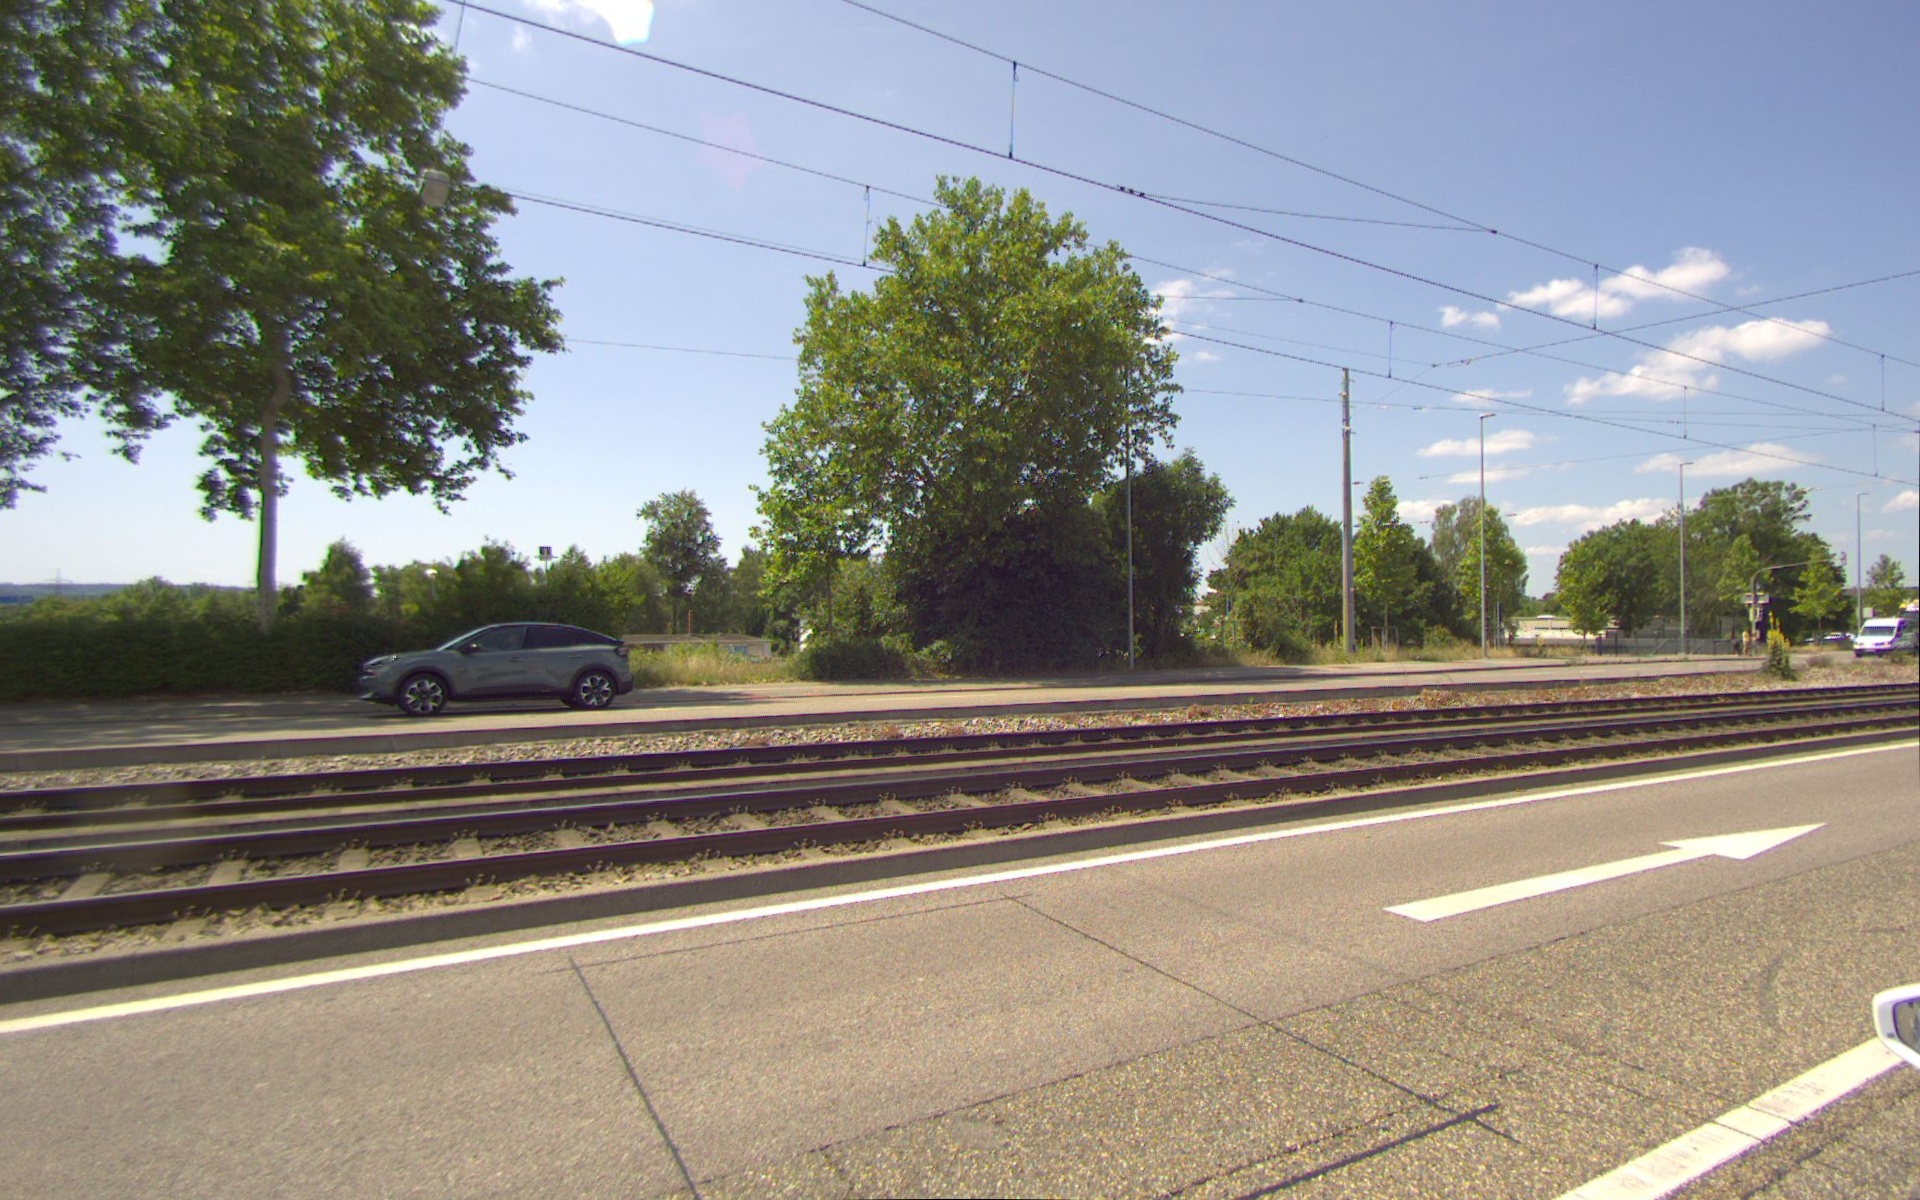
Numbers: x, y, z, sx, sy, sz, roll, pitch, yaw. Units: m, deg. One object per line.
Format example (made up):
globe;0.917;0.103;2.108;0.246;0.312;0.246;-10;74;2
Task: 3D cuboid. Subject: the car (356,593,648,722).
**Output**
car;-7.881;0.892;17.416;4.364;1.944;1.981;1;1;-34

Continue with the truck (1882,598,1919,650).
truck;68.918;1.738;71.756;6.364;3.616;2.754;1;0;-30

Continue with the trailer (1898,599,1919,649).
trailer;75.450;1.880;75.633;15.692;3.565;2.753;1;0;-31

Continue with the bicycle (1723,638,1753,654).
bicycle;51.798;3.043;66.895;0.480;1.000;1.482;1;0;-33

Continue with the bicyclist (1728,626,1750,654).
bicyclist;51.857;2.635;66.884;0.337;1.798;1.112;1;0;-34

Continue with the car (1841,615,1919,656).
car;61.468;2.348;67.029;6.163;2.623;2.232;0;-3;-31
